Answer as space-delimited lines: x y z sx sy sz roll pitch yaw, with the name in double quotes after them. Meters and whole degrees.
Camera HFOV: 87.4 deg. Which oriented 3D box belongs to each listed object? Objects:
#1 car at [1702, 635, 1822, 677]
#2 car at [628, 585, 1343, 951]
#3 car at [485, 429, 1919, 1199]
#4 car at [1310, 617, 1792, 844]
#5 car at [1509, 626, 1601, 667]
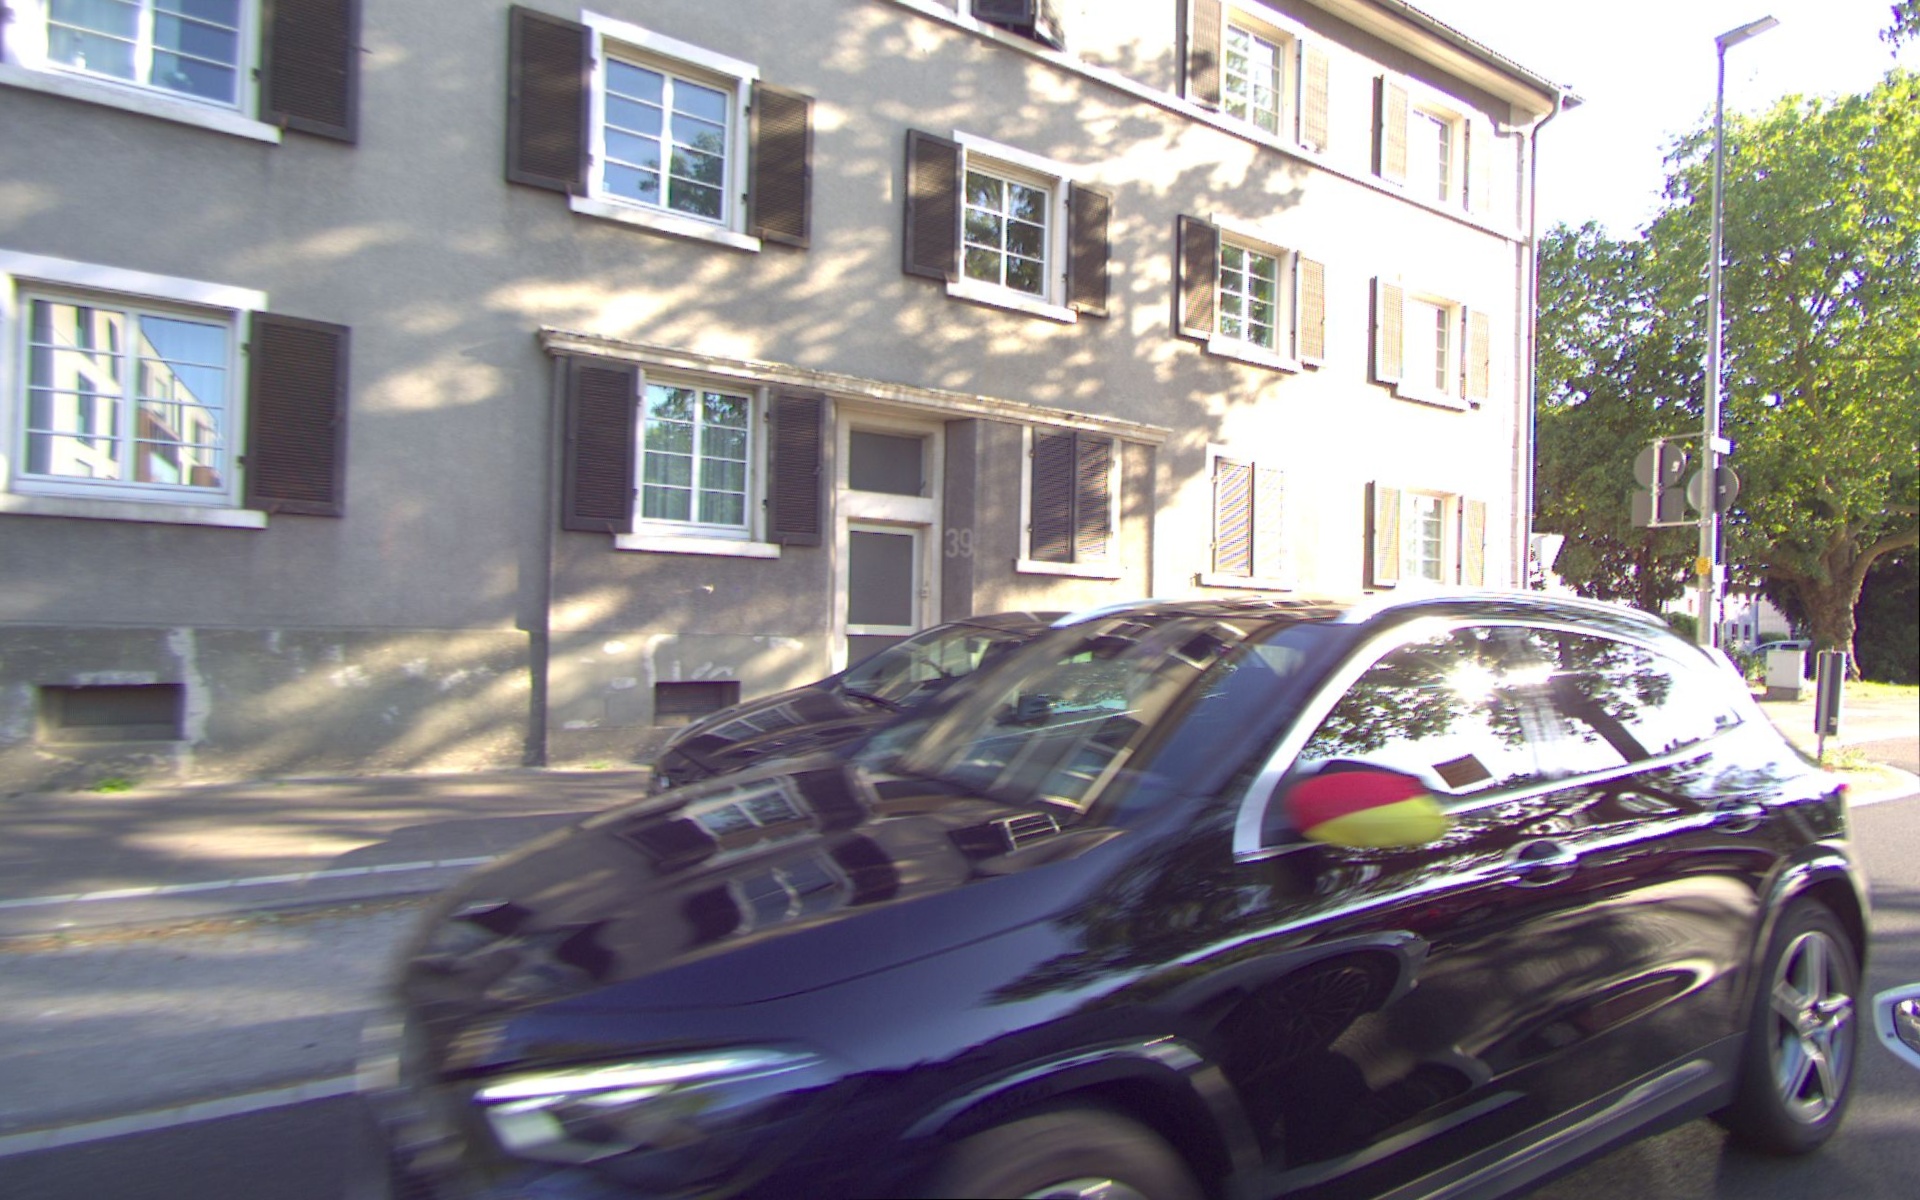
36.818 2.528 46.210 1.707 1.706 3.968 2 -1 -30 "car"
0.277 0.764 6.034 4.009 1.527 1.697 2 0 -32 "car"
0.950 0.715 2.912 4.023 1.611 1.887 2 -2 -31 "car"
5.165 0.981 8.688 4.058 1.503 1.753 2 0 -29 "car"
34.967 2.702 59.141 1.976 2.319 4.295 2 -2 -30 "car"
